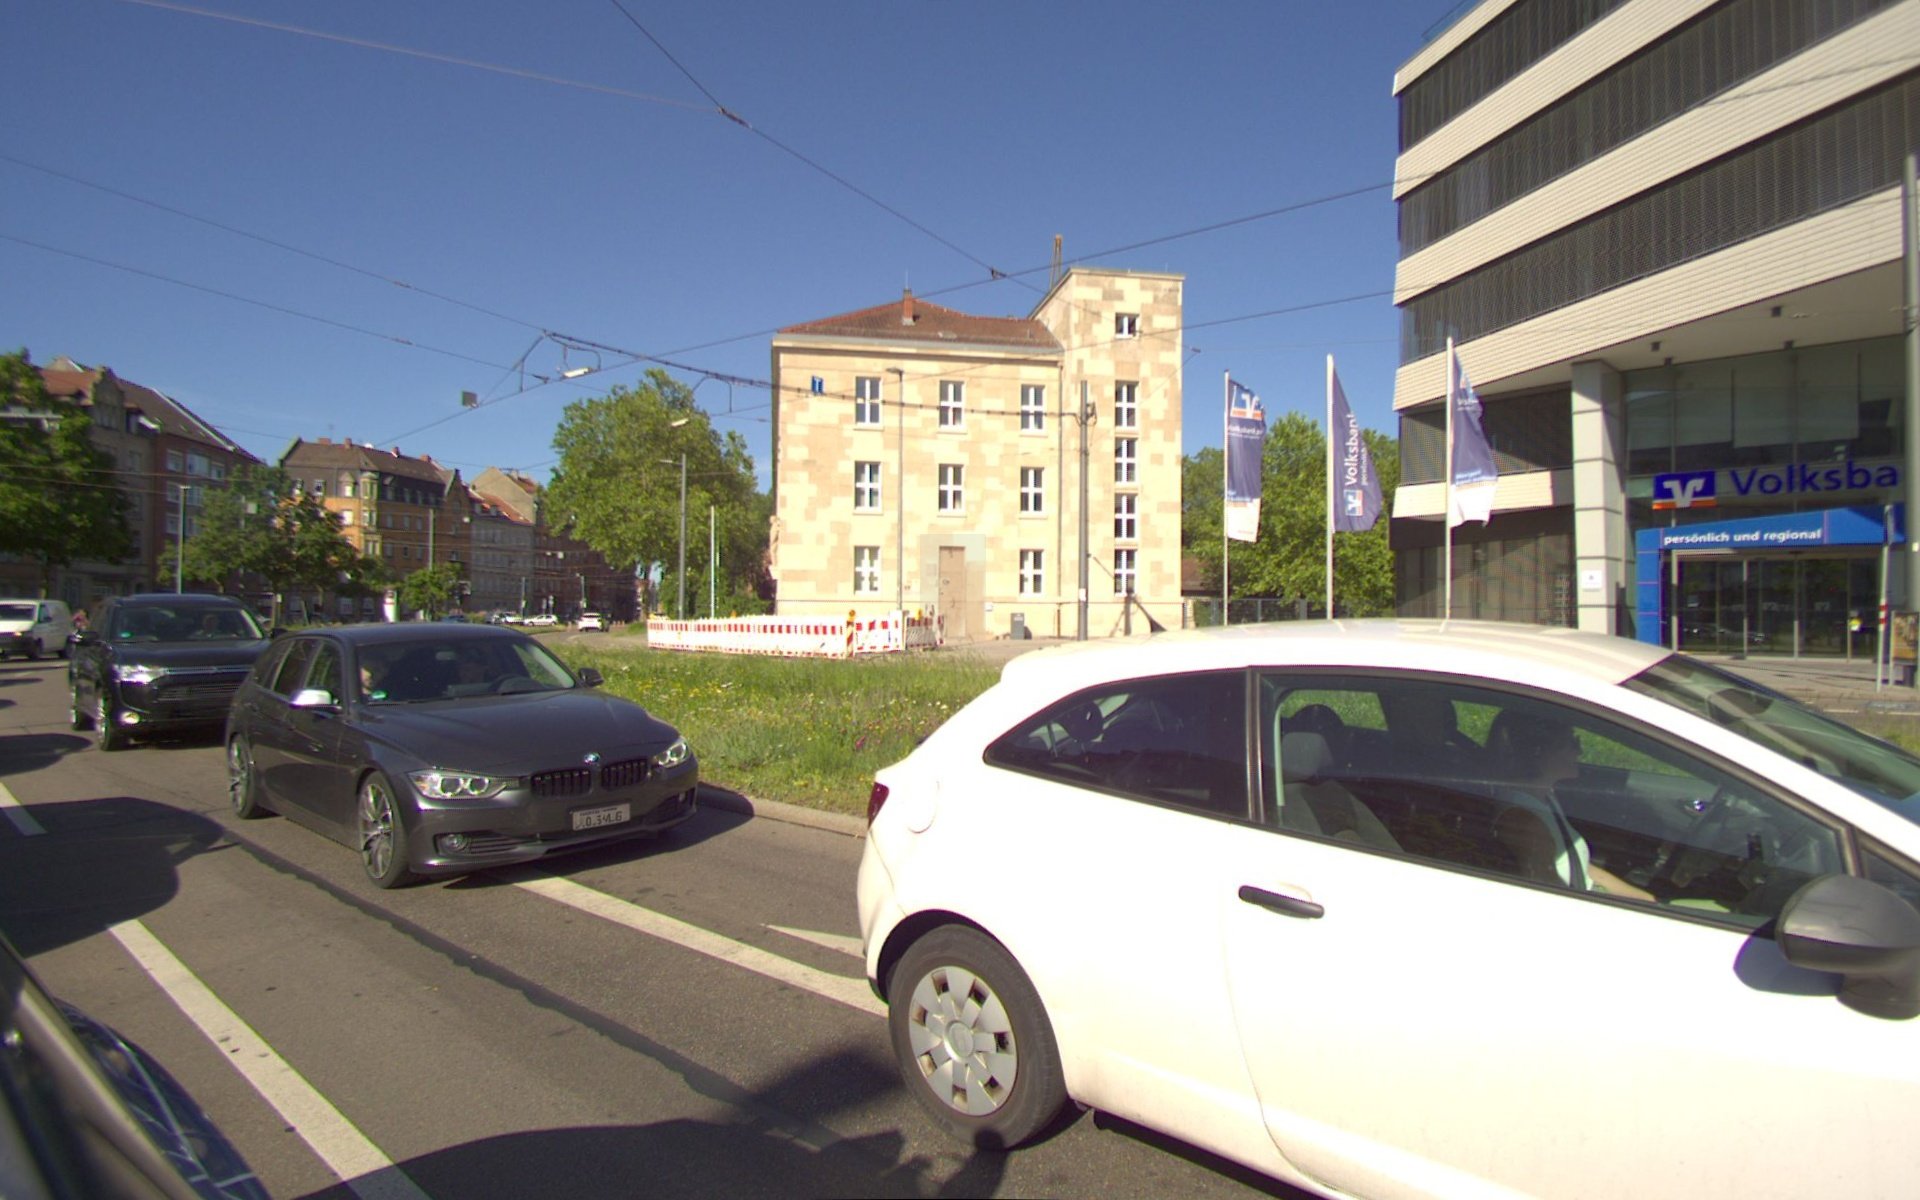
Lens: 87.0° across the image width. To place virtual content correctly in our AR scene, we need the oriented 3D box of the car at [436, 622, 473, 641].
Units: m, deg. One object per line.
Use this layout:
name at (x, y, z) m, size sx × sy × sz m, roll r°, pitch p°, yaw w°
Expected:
car at (-44.863, 2.783, 89.861) m, size 1.811 × 1.659 × 4.157 m, roll 1°, pitch -1°, yaw -10°

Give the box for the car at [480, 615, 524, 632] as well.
car at (-51.868, 2.638, 114.577) m, size 4.563 × 1.889 × 1.984 m, roll -1°, pitch 0°, yaw 25°

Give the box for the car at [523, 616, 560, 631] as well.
car at (-49.938, 2.745, 120.842) m, size 3.931 × 1.663 × 1.868 m, roll -1°, pitch 0°, yaw -18°

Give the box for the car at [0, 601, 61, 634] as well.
car at (-49.936, 0.887, 52.798) m, size 4.514 × 1.680 × 1.601 m, roll 2°, pitch -2°, yaw -43°

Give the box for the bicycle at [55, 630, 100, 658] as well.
bicycle at (-38.627, 1.899, 44.310) m, size 0.751 × 1.153 × 2.290 m, roll 0°, pitch -1°, yaw -21°

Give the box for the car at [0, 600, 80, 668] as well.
car at (-30.780, 1.062, 33.079) m, size 1.949 × 2.101 × 4.728 m, roll 2°, pitch -1°, yaw -28°

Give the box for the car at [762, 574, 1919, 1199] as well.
car at (1.480, 0.693, 2.491) m, size 4.020 × 1.452 × 1.714 m, roll 0°, pitch 2°, yaw 40°

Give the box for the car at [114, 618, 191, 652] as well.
car at (-37.541, 1.590, 47.185) m, size 1.809 × 1.483 × 4.728 m, roll 2°, pitch -1°, yaw -26°

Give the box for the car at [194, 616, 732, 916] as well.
car at (-3.600, 0.826, 6.890) m, size 4.424 × 1.377 × 1.719 m, roll -1°, pitch 0°, yaw 41°

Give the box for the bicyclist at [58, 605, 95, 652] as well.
bicyclist at (-38.598, 1.240, 44.215) m, size 0.835 × 2.029 × 1.200 m, roll 1°, pitch -1°, yaw -23°

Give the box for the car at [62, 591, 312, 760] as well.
car at (-9.383, 0.771, 12.140) m, size 1.817 × 1.658 × 4.400 m, roll -1°, pitch -1°, yaw -45°

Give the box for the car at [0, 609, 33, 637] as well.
car at (-48.771, 1.147, 50.391) m, size 3.768 × 1.390 × 1.602 m, roll 2°, pitch -2°, yaw -41°

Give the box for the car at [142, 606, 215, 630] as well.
car at (-53.939, 1.269, 69.879) m, size 3.771 × 1.603 × 1.601 m, roll 2°, pitch -2°, yaw -44°

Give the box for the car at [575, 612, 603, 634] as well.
car at (-28.695, 1.793, 78.345) m, size 1.794 × 1.658 × 4.194 m, roll 0°, pitch -1°, yaw -17°
